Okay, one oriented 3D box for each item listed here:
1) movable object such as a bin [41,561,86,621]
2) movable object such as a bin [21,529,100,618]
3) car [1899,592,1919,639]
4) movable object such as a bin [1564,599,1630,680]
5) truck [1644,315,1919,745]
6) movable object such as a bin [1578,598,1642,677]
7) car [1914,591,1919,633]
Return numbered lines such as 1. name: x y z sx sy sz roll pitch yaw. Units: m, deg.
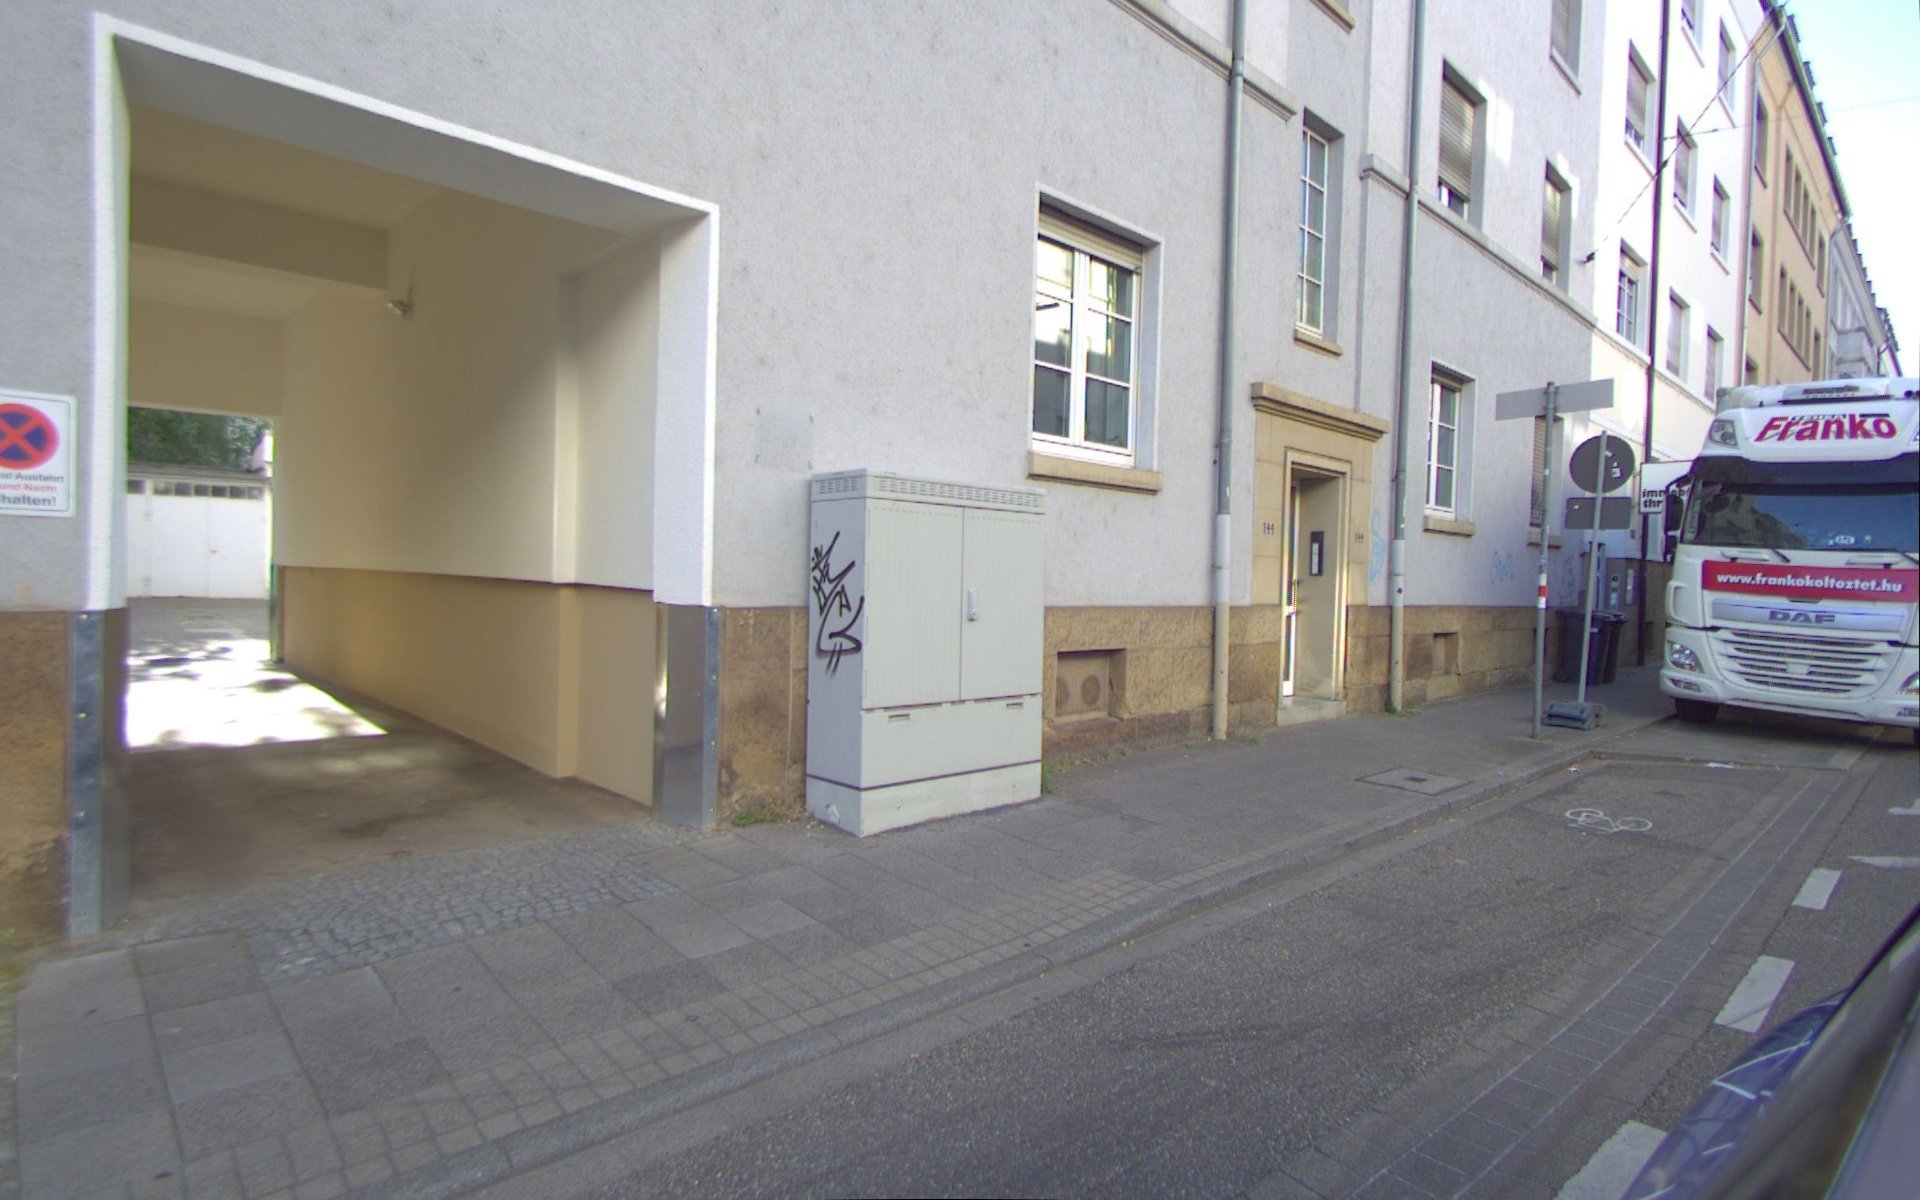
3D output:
1. movable object such as a bin: -14.362 -0.150 16.210 0.518 0.922 0.580 0 2 -43
2. movable object such as a bin: -15.139 -0.457 17.029 0.946 1.426 1.597 0 2 -43
3. car: 33.520 0.523 34.743 4.080 1.551 1.681 0 0 -44
4. movable object such as a bin: 9.185 0.547 14.599 0.560 1.107 0.665 0 2 -43
5. truck: 12.590 -0.684 13.891 11.621 3.975 2.778 0 2 -44
6. movable object such as a bin: 9.665 0.538 15.049 0.560 1.107 0.665 0 2 -43
7. car: 37.690 0.455 38.640 4.080 1.551 1.681 0 0 -44
